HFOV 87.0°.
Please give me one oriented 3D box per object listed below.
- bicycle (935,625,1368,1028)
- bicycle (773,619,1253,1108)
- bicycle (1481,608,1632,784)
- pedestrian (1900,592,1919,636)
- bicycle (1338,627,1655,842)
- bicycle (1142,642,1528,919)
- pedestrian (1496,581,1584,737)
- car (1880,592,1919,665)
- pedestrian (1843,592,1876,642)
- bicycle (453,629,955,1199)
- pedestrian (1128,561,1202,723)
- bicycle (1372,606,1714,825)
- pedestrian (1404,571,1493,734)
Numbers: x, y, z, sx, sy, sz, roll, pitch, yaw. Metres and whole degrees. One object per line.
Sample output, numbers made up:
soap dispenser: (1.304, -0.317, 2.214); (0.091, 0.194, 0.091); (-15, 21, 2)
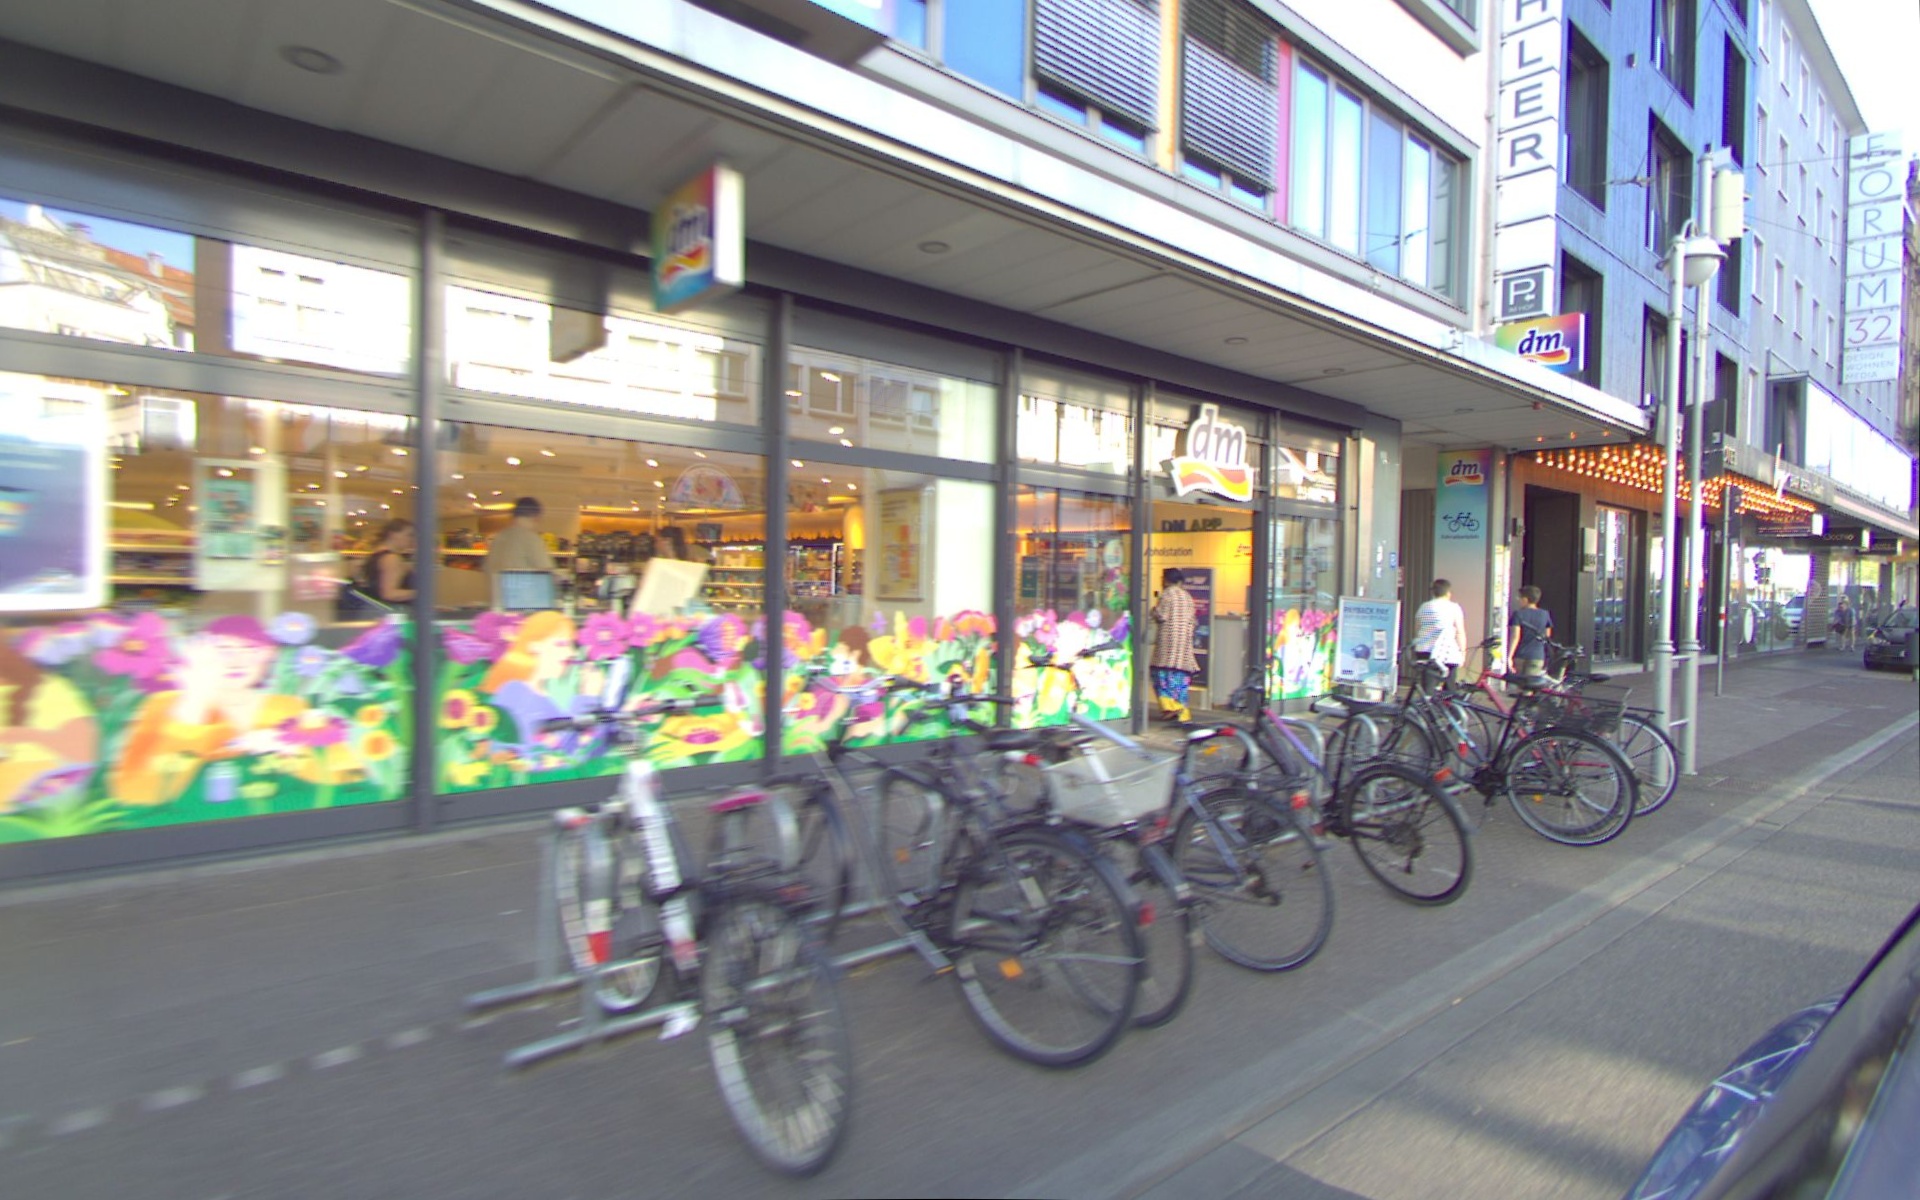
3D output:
bicycle: (0.698, 0.781, 4.252); (0.577, 1.232, 1.791); (1, 2, -41)
bicycle: (0.080, 0.739, 3.660); (0.657, 1.232, 1.791); (1, 2, -41)
bicycle: (4.967, 0.731, 8.390); (1.575, 1.272, 0.582); (0, 4, -43)
pedestrian: (34.008, 0.498, 36.000); (0.800, 1.527, 0.696); (0, 1, -41)
bicycle: (3.491, 0.808, 6.725); (1.774, 1.144, 0.471); (3, 2, 45)
bicycle: (1.838, 0.812, 5.211); (0.586, 1.044, 1.777); (1, 2, -41)
pedestrian: (5.896, 0.577, 10.320); (0.575, 1.511, 0.523); (3, 2, 14)
car: (22.238, 0.634, 22.777); (4.339, 1.502, 1.725); (0, 4, -41)
pedestrian: (27.360, 0.509, 30.785); (0.718, 1.457, 0.577); (0, 3, -41)
bicycle: (-0.855, 0.734, 2.914); (0.657, 1.174, 1.791); (1, 2, -41)
pedestrian: (2.008, 0.379, 9.896); (0.576, 1.504, 0.594); (3, 3, 19)
bicycle: (4.105, 0.738, 7.263); (2.034, 1.290, 0.517); (3, 2, 41)
pedestrian: (5.079, 0.518, 10.535); (0.587, 1.605, 0.582); (0, 3, -42)
